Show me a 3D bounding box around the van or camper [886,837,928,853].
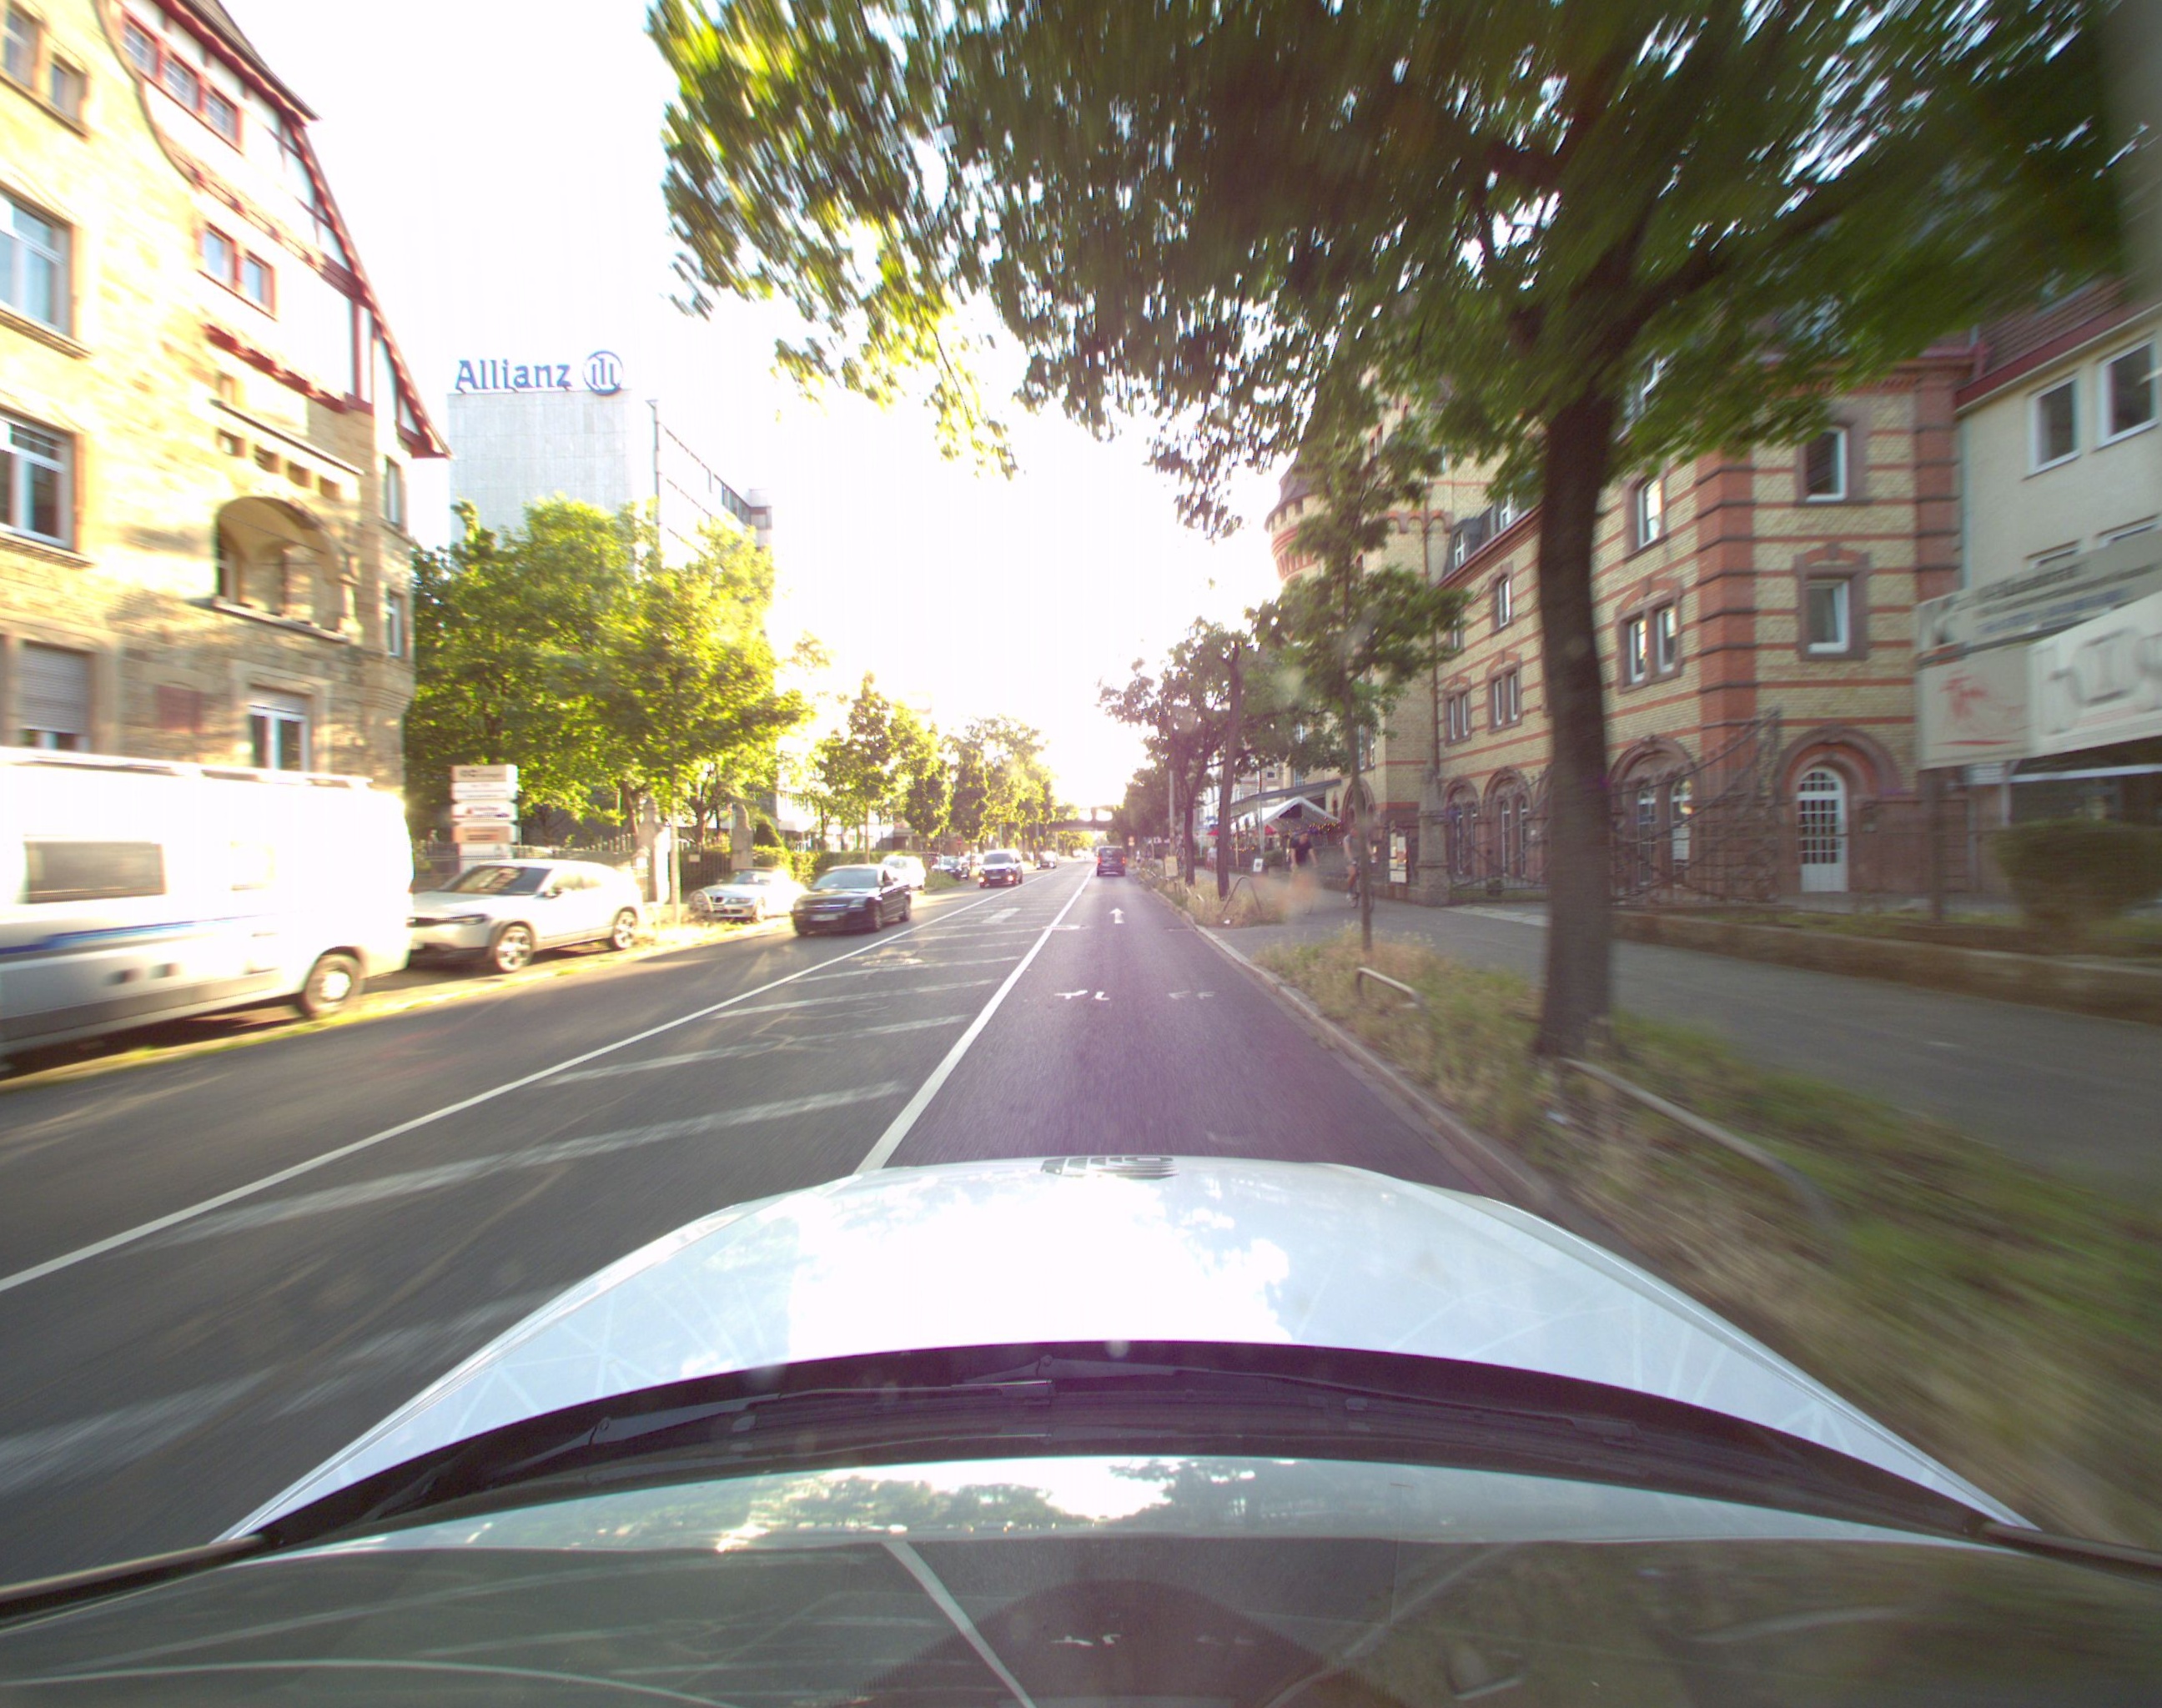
[{"bbox_3d":[-29.353,-1.467,137.313,6.542,2.522,2.449,1,0,0],"label":"van or camper"}]

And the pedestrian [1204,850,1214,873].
[{"bbox_3d":[7.501,0.443,47.653,0.465,1.350,0.530,1,0,2],"label":"pedestrian"}]

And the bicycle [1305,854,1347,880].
[{"bbox_3d":[9.330,0.501,31.006,1.439,0.946,0.535,1,0,2],"label":"bicycle"}]

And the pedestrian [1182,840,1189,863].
[{"bbox_3d":[11.781,-0.266,91.662,0.712,2.539,0.824,1,0,2],"label":"pedestrian"}]

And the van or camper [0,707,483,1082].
[{"bbox_3d":[-8.713,0.241,7.475,1.989,2.668,6.033,4,0,-2],"label":"van or camper"}]

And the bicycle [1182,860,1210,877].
[{"bbox_3d":[8.753,1.108,61.894,1.977,1.226,0.547,1,0,-5],"label":"bicycle"}]

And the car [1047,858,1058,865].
[{"bbox_3d":[-6.298,1.605,179.350,1.986,1.414,4.239,1,0,2],"label":"car"}]

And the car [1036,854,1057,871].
[{"bbox_3d":[-3.252,0.814,77.453,1.673,1.530,4.002,-2,0,2],"label":"car"}]

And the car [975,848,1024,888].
[{"bbox_3d":[-3.967,0.662,40.250,1.826,1.853,4.474,-2,0,1],"label":"car"}]

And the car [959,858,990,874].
[{"bbox_3d":[-9.039,0.989,69.337,1.986,1.310,4.067,1,0,2],"label":"car"}]

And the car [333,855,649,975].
[{"bbox_3d":[-8.861,0.800,12.805,1.740,1.535,4.303,1,0,1],"label":"car"}]

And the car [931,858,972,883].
[{"bbox_3d":[-7.542,0.938,47.786,1.632,1.385,4.000,1,0,1],"label":"car"}]

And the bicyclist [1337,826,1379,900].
[{"bbox_3d":[5.951,0.193,17.504,0.593,1.532,0.894,1,0,1],"label":"bicyclist"}]

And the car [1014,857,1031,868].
[{"bbox_3d":[-8.120,1.140,113.332,1.986,1.414,4.239,1,0,2],"label":"car"}]

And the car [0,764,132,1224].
[{"bbox_3d":[-5.402,0.578,1.113,1.985,1.831,5.173,-2,0,2],"label":"car"}]

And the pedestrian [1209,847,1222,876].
[{"bbox_3d":[7.639,0.420,46.328,0.642,1.633,0.656,1,0,2],"label":"pedestrian"}]

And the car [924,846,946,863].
[{"bbox_3d":[-21.369,0.060,119.258,1.986,2.307,5.247,1,0,2],"label":"car"}]

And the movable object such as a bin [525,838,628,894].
[{"bbox_3d":[-14.128,0.340,22.889,1.934,1.379,1.328,5,-1,0],"label":"movable object such as a bin"}]

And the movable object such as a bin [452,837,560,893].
[{"bbox_3d":[-16.100,0.307,22.868,1.934,1.379,1.328,5,-1,0],"label":"movable object such as a bin"}]

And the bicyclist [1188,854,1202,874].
[{"bbox_3d":[8.660,0.759,61.888,0.933,1.558,0.545,1,0,-4],"label":"bicyclist"}]

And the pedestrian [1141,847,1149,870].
[{"bbox_3d":[5.415,0.368,68.953,0.505,1.889,0.543,1,0,-13],"label":"pedestrian"}]

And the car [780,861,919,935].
[{"bbox_3d":[-5.055,0.897,18.424,1.753,1.386,4.306,-2,0,2],"label":"car"}]

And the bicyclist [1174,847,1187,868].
[{"bbox_3d":[5.838,0.199,47.841,0.583,1.236,1.112,1,0,1],"label":"bicyclist"}]

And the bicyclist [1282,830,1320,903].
[{"bbox_3d":[4.796,0.272,17.773,0.593,1.532,0.894,1,0,1],"label":"bicyclist"}]

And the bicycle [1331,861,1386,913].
[{"bbox_3d":[5.947,0.674,17.536,0.515,1.040,2.089,1,0,2],"label":"bicycle"}]

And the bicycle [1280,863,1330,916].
[{"bbox_3d":[4.780,0.736,17.519,0.542,1.040,2.089,1,0,2],"label":"bicycle"}]

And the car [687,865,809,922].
[{"bbox_3d":[-8.298,0.938,20.608,1.530,1.248,3.614,1,0,1],"label":"car"}]

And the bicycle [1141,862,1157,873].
[{"bbox_3d":[5.805,1.171,69.698,0.590,0.897,1.975,1,0,-18],"label":"bicycle"}]

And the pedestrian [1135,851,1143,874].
[{"bbox_3d":[4.985,0.713,69.454,0.505,1.889,0.543,1,0,-13],"label":"pedestrian"}]

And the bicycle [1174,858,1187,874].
[{"bbox_3d":[5.832,0.685,47.800,0.577,0.897,1.988,1,0,2],"label":"bicycle"}]

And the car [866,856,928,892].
[{"bbox_3d":[-7.908,0.834,35.398,1.691,1.451,4.000,1,0,1],"label":"car"}]

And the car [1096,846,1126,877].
[{"bbox_3d":[1.991,0.488,53.703,1.880,1.925,3.842,-1,0,3],"label":"car"}]
